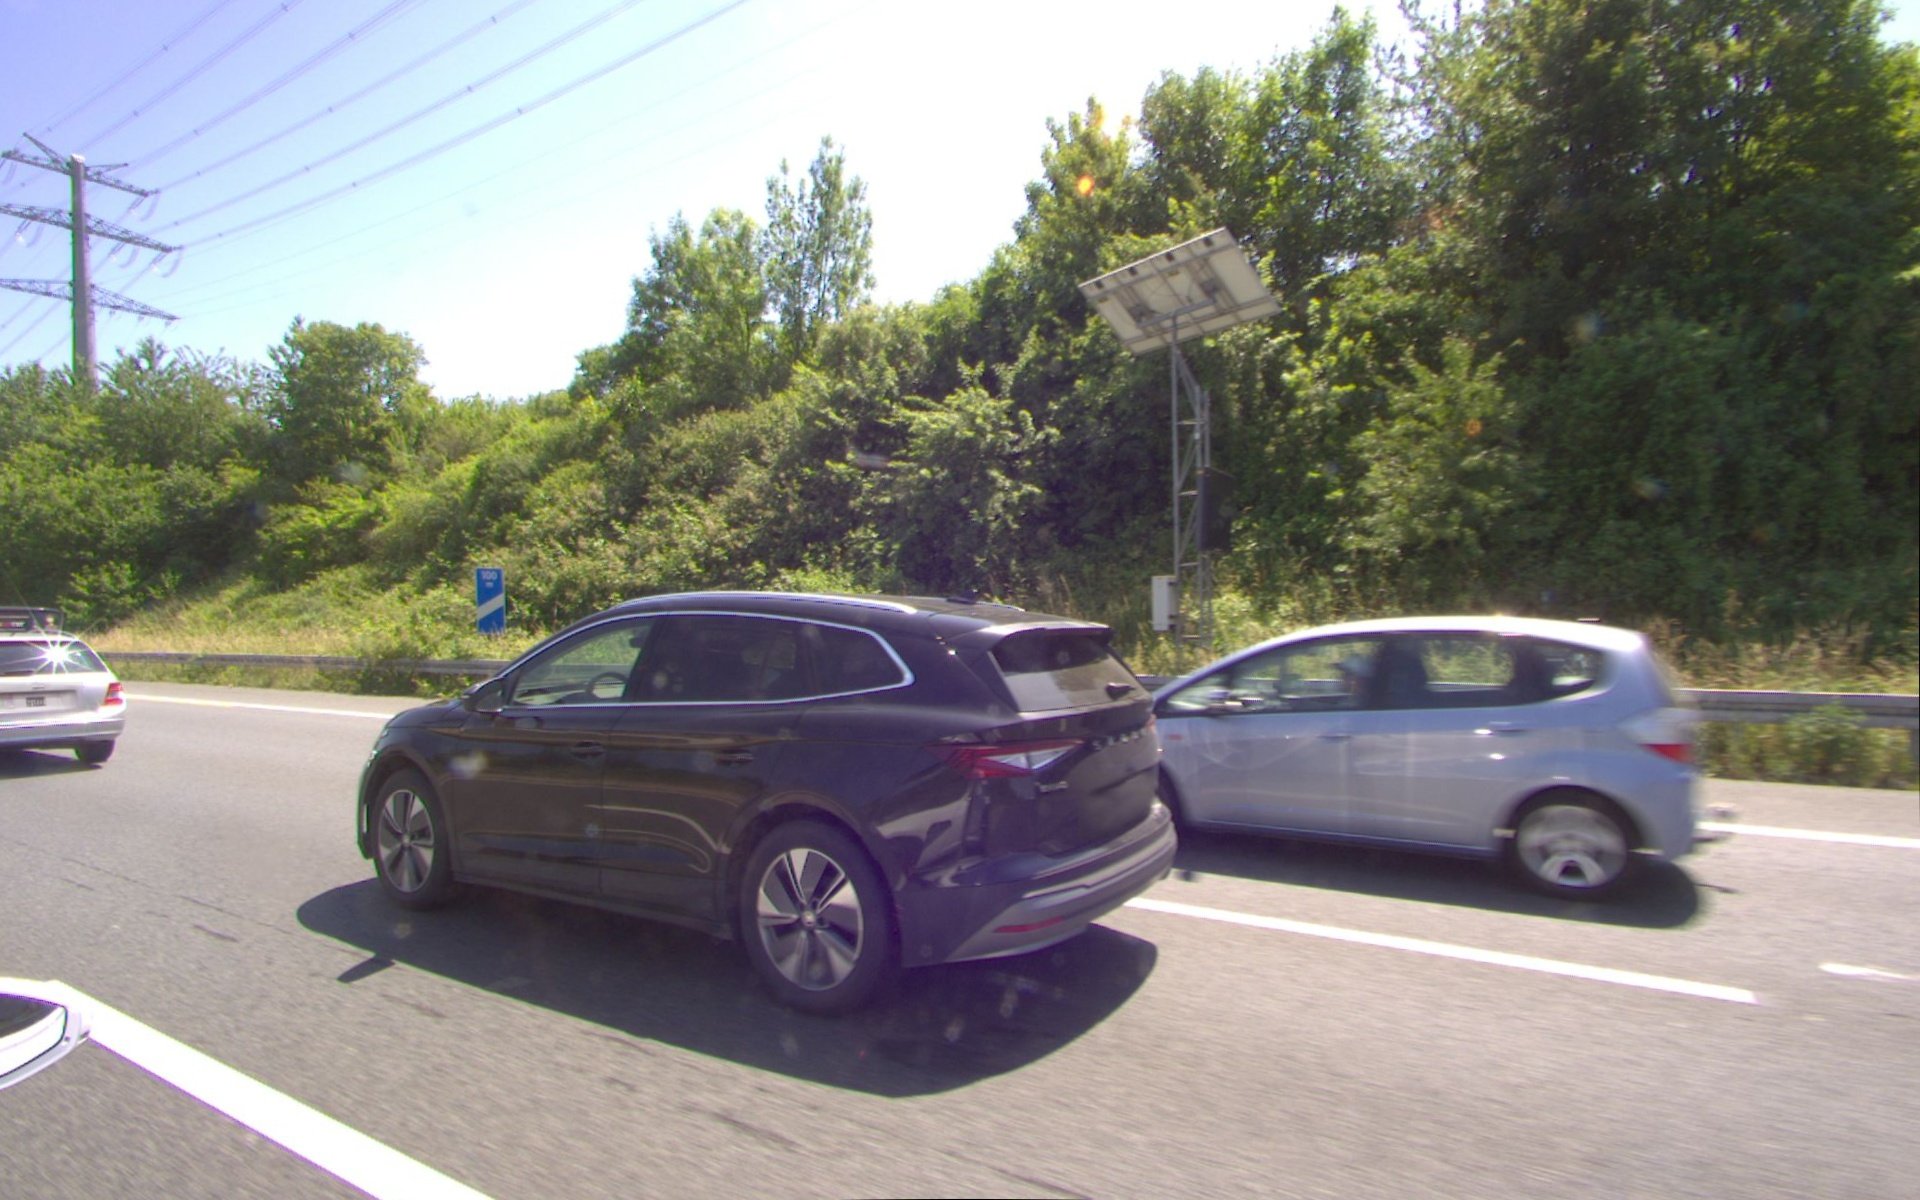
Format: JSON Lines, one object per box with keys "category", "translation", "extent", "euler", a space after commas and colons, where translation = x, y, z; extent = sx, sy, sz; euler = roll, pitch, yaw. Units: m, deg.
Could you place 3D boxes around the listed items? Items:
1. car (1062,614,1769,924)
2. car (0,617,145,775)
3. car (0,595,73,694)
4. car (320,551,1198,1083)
{"category": "car", "translation": [2.706, 0.863, 6.485], "extent": [3.734, 1.466, 1.698], "euler": [-1, -2, 32]}
{"category": "car", "translation": [-11.039, 0.987, 11.118], "extent": [4.297, 1.537, 1.768], "euler": [-1, -2, 32]}
{"category": "car", "translation": [-21.489, 0.969, 22.128], "extent": [4.168, 2.039, 1.794], "euler": [-1, -2, 33]}
{"category": "car", "translation": [-1.192, 0.751, 5.045], "extent": [4.365, 1.676, 1.698], "euler": [-1, -2, 32]}
